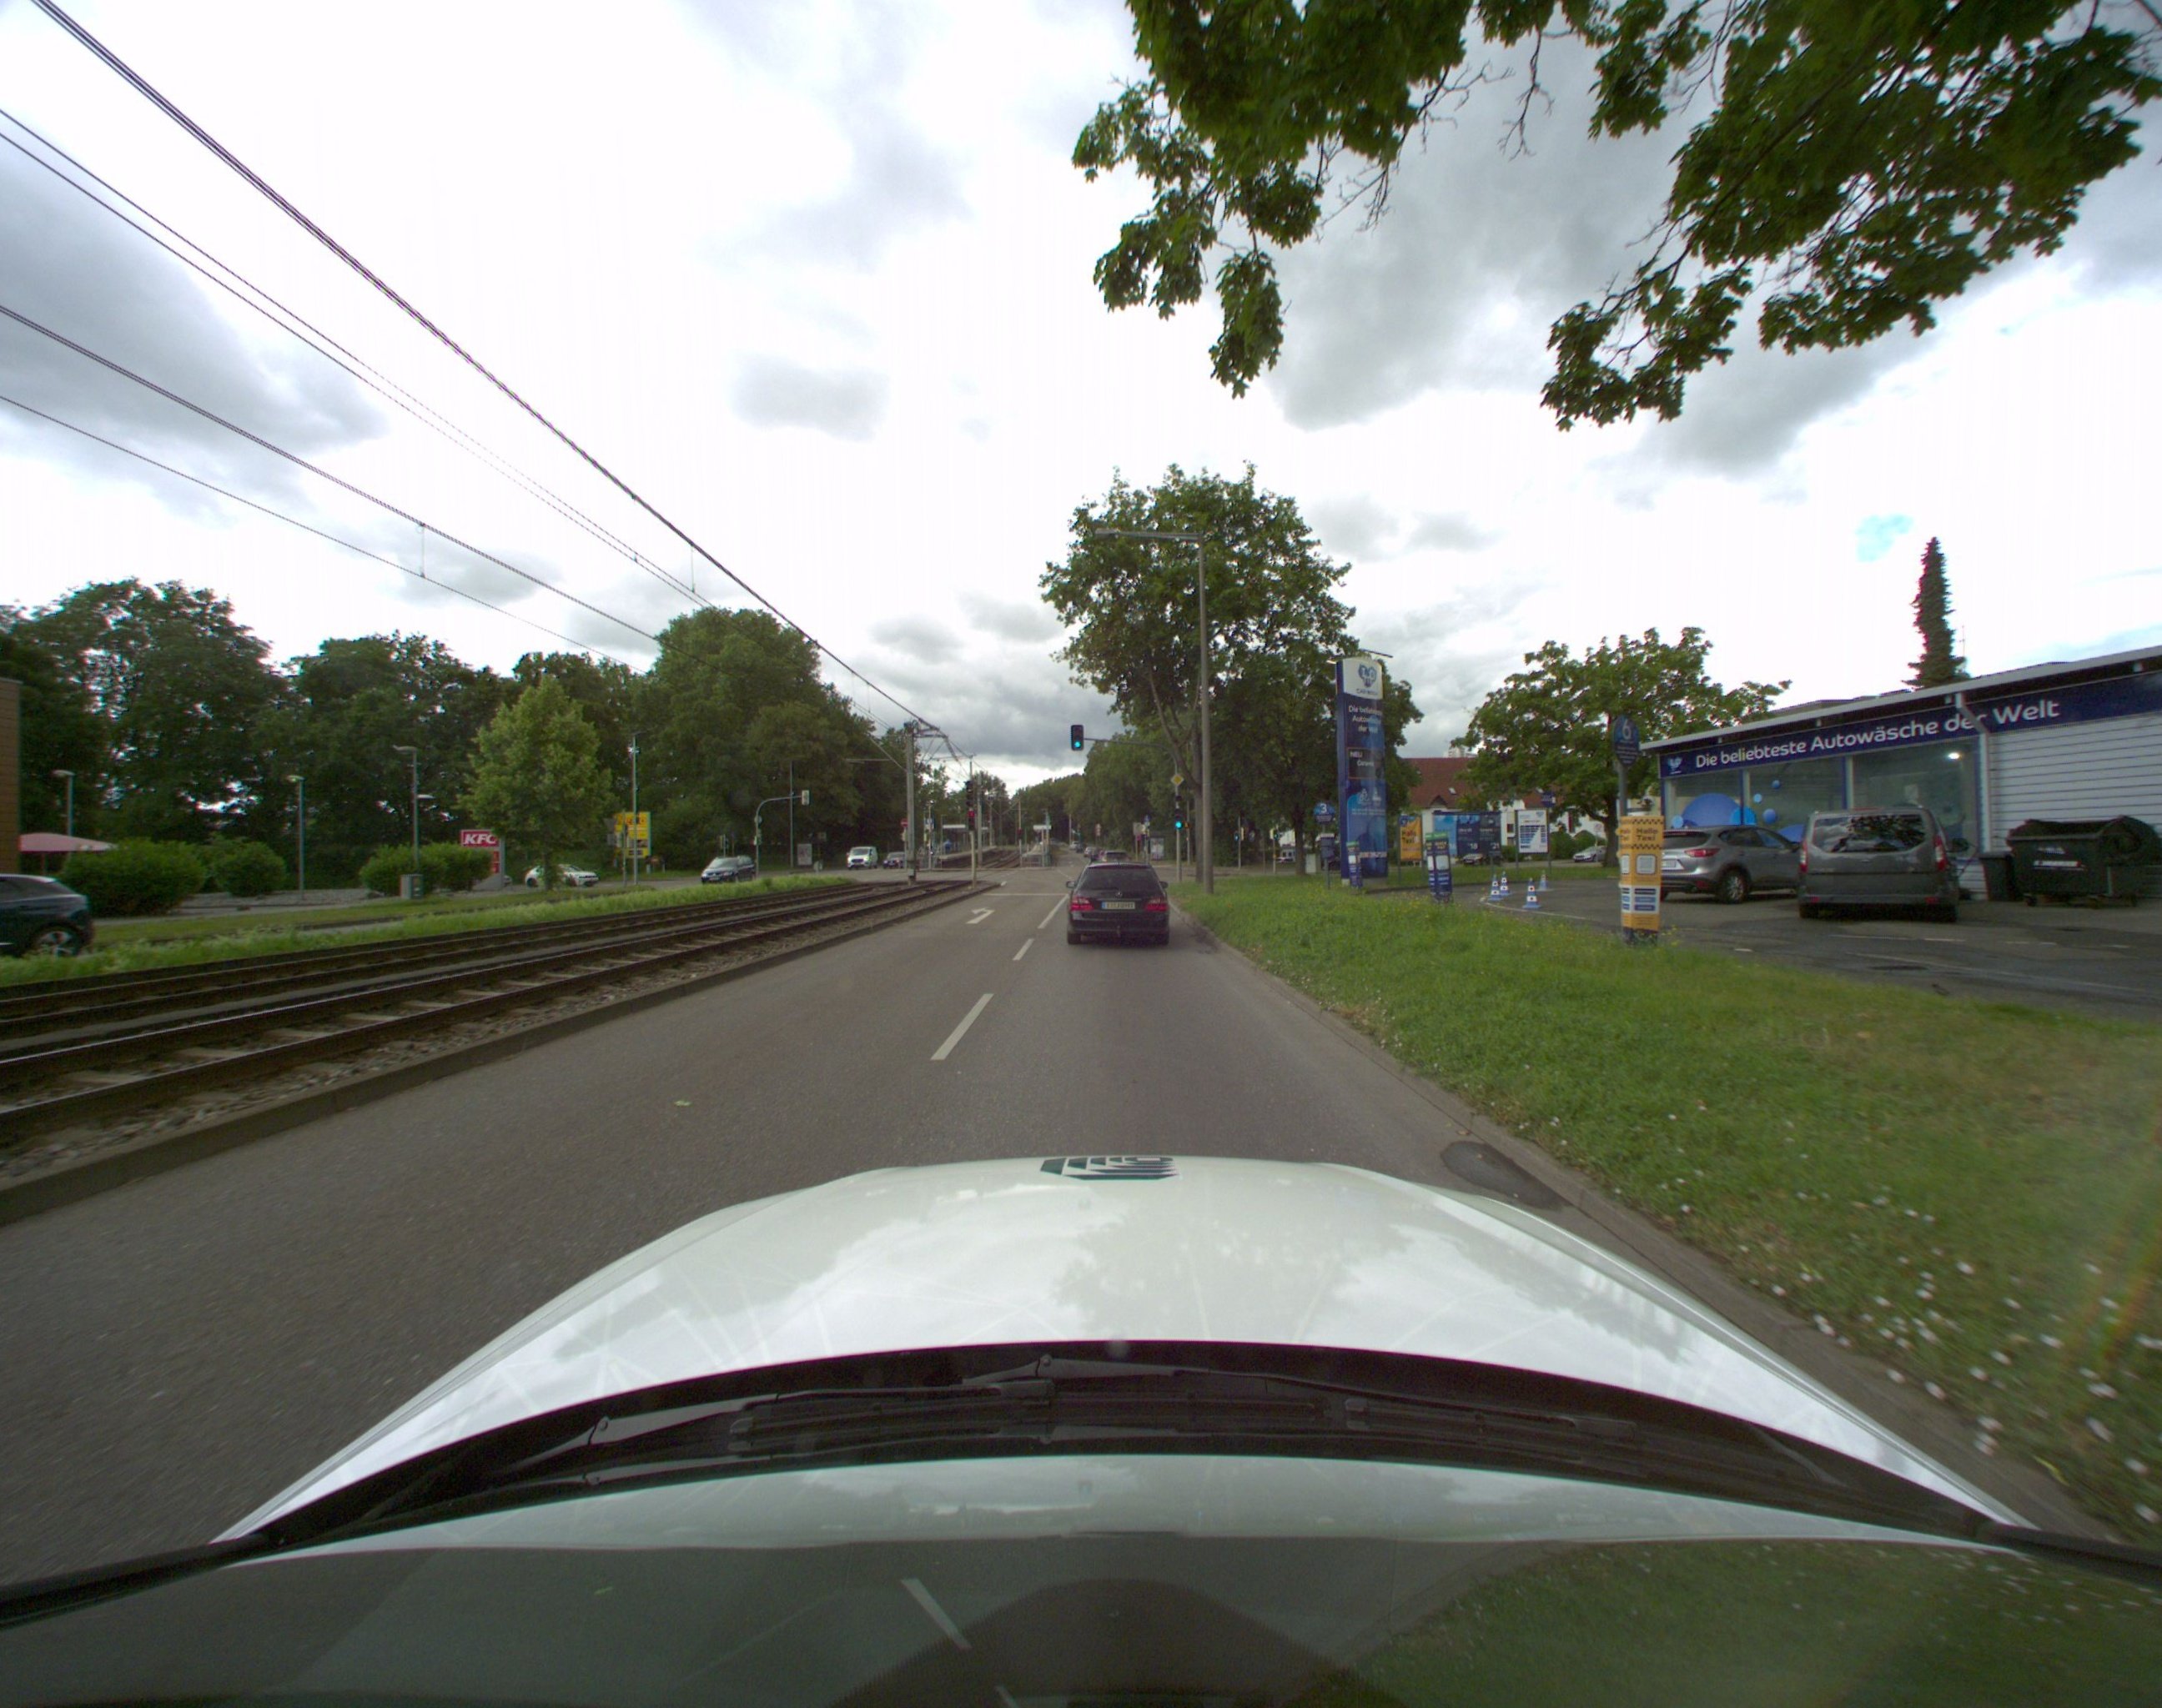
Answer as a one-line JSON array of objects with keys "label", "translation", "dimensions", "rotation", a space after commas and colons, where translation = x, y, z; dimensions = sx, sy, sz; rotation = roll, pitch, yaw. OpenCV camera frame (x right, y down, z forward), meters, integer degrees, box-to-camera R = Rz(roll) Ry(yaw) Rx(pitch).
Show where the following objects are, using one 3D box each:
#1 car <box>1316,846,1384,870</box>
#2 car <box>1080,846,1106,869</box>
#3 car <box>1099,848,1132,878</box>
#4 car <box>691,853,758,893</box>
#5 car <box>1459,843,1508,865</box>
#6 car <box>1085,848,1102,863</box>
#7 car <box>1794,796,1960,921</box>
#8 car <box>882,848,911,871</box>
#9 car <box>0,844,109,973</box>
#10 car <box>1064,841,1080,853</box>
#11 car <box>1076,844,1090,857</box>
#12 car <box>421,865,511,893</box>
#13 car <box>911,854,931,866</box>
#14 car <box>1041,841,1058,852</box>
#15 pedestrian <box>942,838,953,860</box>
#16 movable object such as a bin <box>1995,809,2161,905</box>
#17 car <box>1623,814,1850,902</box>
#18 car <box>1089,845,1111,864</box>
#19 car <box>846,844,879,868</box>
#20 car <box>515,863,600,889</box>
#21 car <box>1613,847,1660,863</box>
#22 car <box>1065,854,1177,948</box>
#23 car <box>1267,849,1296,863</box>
[{"label": "car", "translation": [18.096, 0.275, 54.933], "dimensions": [4.131, 1.526, 1.707], "rotation": [-1, -1, 6]}, {"label": "car", "translation": [0.957, 0.294, 62.382], "dimensions": [1.774, 1.648, 4.004], "rotation": [1, 0, 4]}, {"label": "car", "translation": [2.056, 0.513, 47.449], "dimensions": [1.774, 1.648, 4.004], "rotation": [1, 0, 4]}, {"label": "car", "translation": [-19.323, 0.991, 44.352], "dimensions": [1.989, 2.013, 4.102], "rotation": [-1, 0, -3]}, {"label": "car", "translation": [33.169, -0.003, 67.143], "dimensions": [4.017, 1.765, 1.978], "rotation": [1, -1, -36]}, {"label": "car", "translation": [1.570, 0.198, 104.646], "dimensions": [1.989, 1.893, 3.996], "rotation": [1, 0, -3]}, {"label": "car", "translation": [13.774, 0.045, 14.006], "dimensions": [4.408, 1.821, 1.730], "rotation": [-1, 0, -42]}, {"label": "car", "translation": [-16.140, 0.484, 71.354], "dimensions": [1.693, 1.860, 3.996], "rotation": [1, 0, -3]}, {"label": "car", "translation": [-17.855, 0.874, 12.027], "dimensions": [1.989, 2.013, 4.242], "rotation": [-1, 0, -3]}, {"label": "car", "translation": [-1.566, -1.213, 142.543], "dimensions": [1.995, 2.014, 3.982], "rotation": [1, 0, -13]}, {"label": "car", "translation": [0.337, -0.496, 125.863], "dimensions": [1.989, 1.966, 3.996], "rotation": [1, 0, -3]}, {"label": "car", "translation": [-37.308, 1.502, 49.503], "dimensions": [3.976, 1.552, 1.846], "rotation": [-2, 0, -2]}, {"label": "car", "translation": [-20.686, 0.762, 105.443], "dimensions": [1.989, 1.482, 4.501], "rotation": [-2, 0, -3]}, {"label": "car", "translation": [-6.074, -1.426, 156.020], "dimensions": [2.002, 2.014, 3.970], "rotation": [1, 0, -23]}, {"label": "pedestrian", "translation": [-13.065, -0.472, 79.714], "dimensions": [0.967, 2.186, 0.976], "rotation": [-1, 0, -1]}, {"label": "movable object such as a bin", "translation": [16.557, 0.050, 13.534], "dimensions": [1.156, 1.474, 1.386], "rotation": [-2, 0, -3]}, {"label": "car", "translation": [14.319, 0.055, 17.839], "dimensions": [4.209, 1.697, 1.830], "rotation": [-2, 0, -17]}, {"label": "car", "translation": [1.901, 0.044, 83.316], "dimensions": [1.989, 1.918, 3.996], "rotation": [1, 0, -3]}, {"label": "car", "translation": [-19.495, 0.175, 72.881], "dimensions": [1.990, 2.013, 4.877], "rotation": [-2, 0, -5]}, {"label": "car", "translation": [-31.613, 1.302, 49.278], "dimensions": [3.868, 1.408, 1.846], "rotation": [-2, 0, -2]}, {"label": "car", "translation": [52.690, 0.098, 77.287], "dimensions": [4.483, 1.426, 1.981], "rotation": [1, -1, -31]}, {"label": "car", "translation": [0.617, 0.775, 15.285], "dimensions": [1.777, 1.525, 3.997], "rotation": [0, 0, -2]}, {"label": "car", "translation": [21.695, 0.224, 88.245], "dimensions": [1.479, 1.386, 3.824], "rotation": [1, 0, -12]}]
